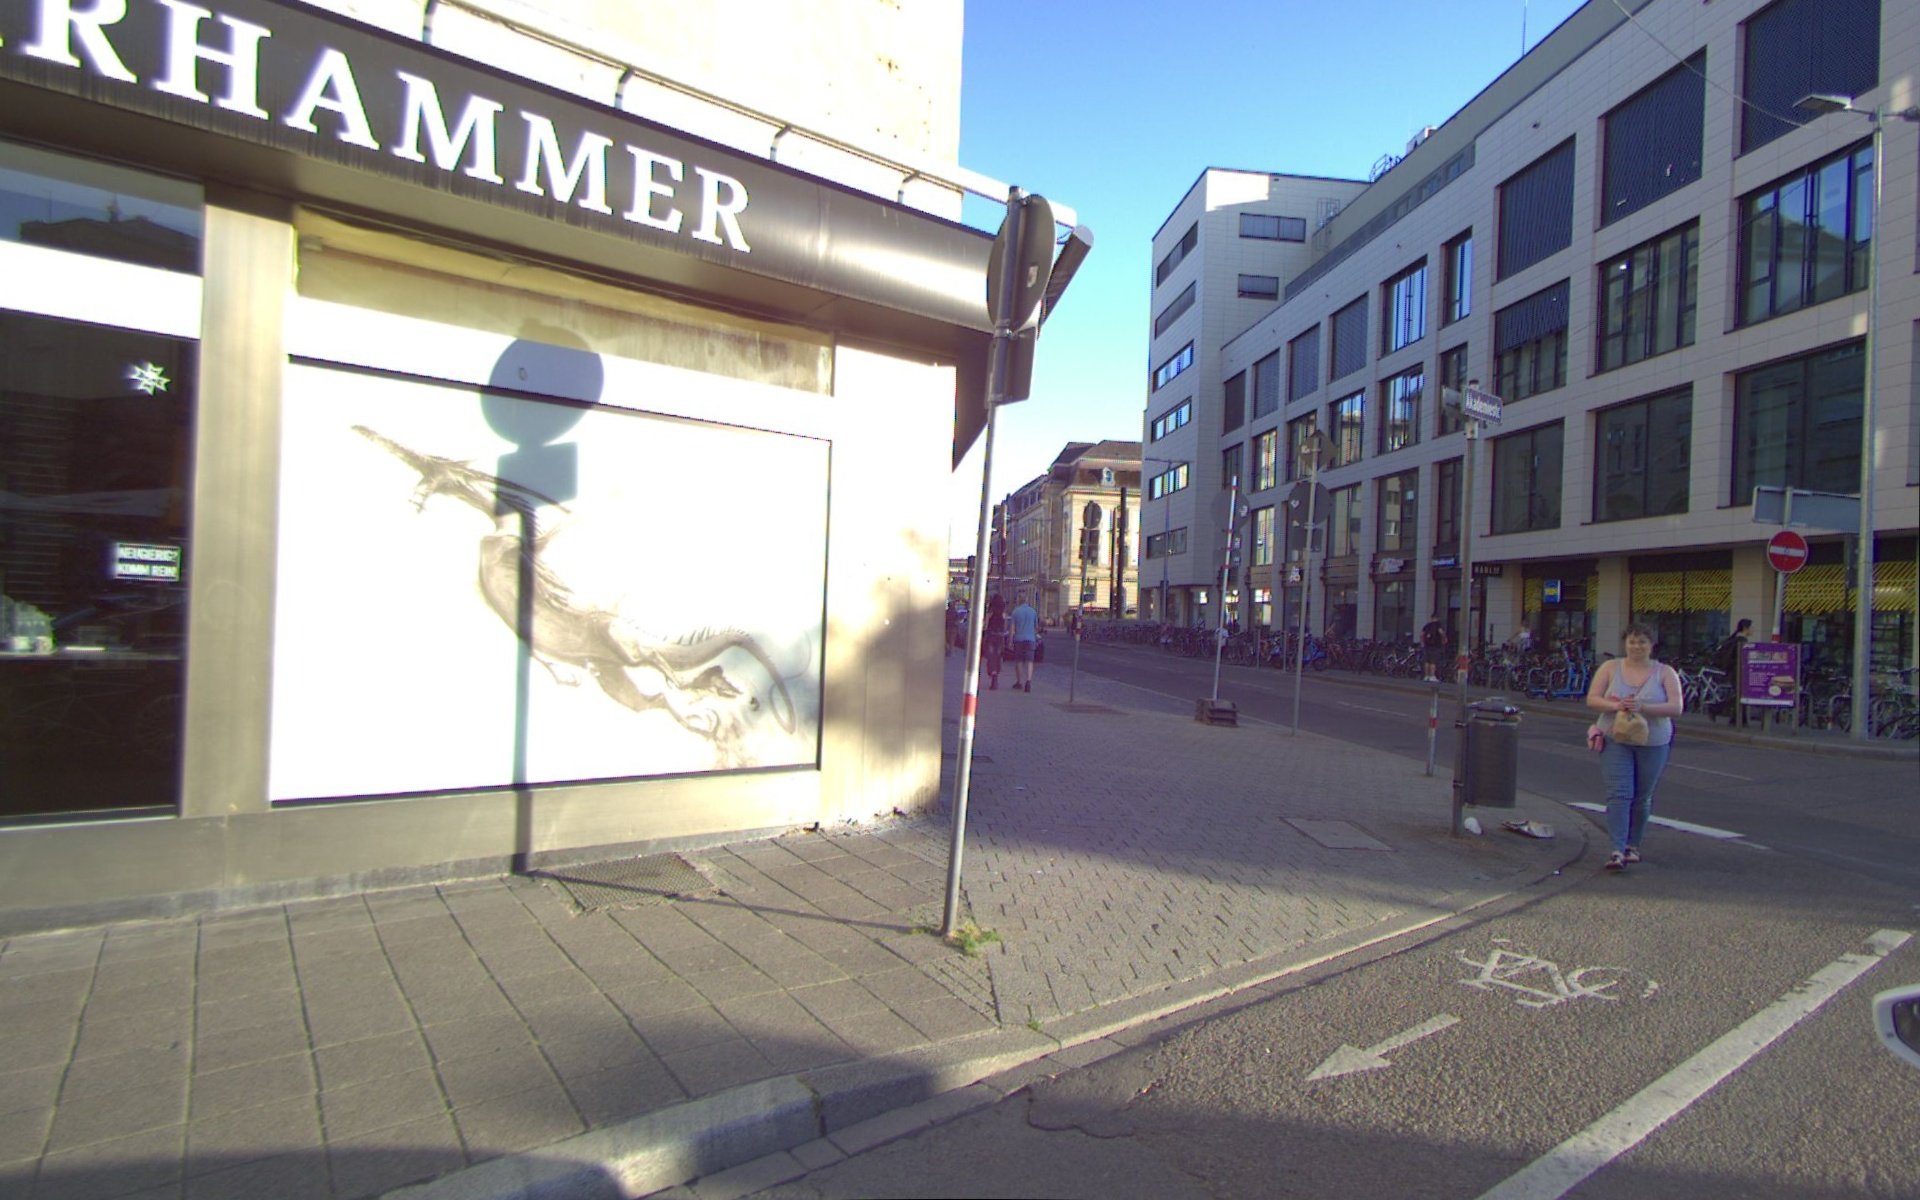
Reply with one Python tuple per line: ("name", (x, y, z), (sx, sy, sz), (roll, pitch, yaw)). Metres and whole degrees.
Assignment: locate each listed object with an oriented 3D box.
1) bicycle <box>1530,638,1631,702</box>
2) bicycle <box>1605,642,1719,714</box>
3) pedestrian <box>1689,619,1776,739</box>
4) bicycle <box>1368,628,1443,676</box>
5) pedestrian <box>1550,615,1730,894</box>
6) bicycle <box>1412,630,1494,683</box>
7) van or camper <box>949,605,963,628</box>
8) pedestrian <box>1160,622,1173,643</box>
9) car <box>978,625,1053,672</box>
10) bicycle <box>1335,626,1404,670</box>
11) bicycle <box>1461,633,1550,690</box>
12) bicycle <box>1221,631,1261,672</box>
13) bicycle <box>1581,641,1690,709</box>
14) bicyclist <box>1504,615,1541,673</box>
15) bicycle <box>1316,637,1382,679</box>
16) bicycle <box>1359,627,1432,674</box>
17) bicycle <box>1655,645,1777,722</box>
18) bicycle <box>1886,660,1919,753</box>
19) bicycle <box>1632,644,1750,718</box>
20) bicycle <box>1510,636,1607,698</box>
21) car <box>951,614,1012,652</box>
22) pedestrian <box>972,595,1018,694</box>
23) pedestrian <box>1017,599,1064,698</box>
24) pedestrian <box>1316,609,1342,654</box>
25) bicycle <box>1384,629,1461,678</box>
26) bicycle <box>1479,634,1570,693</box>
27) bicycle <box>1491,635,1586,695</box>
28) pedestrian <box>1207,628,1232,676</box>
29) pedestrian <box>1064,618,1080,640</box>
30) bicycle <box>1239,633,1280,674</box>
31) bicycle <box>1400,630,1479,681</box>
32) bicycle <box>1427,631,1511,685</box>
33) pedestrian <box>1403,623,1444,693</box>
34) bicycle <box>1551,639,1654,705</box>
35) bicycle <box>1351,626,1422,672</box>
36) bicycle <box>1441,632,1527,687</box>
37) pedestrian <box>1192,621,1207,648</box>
("bicycle", (13.557, 1.518, 21.956), (1.942, 1.271, 0.513), (3, 0, -8))
("bicycle", (13.790, 1.527, 19.737), (1.942, 1.271, 0.513), (3, 0, -8))
("pedestrian", (11.522, 1.155, 14.986), (0.613, 1.680, 0.862), (2, 0, -40))
("bicycle", (12.854, 1.490, 29.013), (1.942, 1.271, 0.513), (3, 0, -8))
("pedestrian", (4.359, 0.934, 6.501), (0.789, 1.634, 0.734), (2, 0, 24))
("bicycle", (13.064, 1.498, 26.642), (1.942, 1.271, 0.513), (3, 0, -8))
("van or camper", (-0.536, 2.399, 147.033), (1.961, 3.317, 5.163), (2, 0, 0))
("pedestrian", (14.065, 2.209, 68.408), (0.671, 1.444, 0.643), (2, 0, -7))
("car", (1.878, 1.669, 35.364), (1.830, 1.409, 3.994), (2, 0, -8))
("bicycle", (12.764, 1.489, 31.309), (1.942, 1.271, 0.513), (3, 0, -8))
("bicycle", (13.395, 1.513, 24.694), (1.942, 1.271, 0.513), (3, 0, -8))
("bicycle", (9.618, 1.741, 34.425), (0.504, 1.271, 1.976), (3, 0, -8))
("bicycle", (13.788, 1.528, 20.506), (1.942, 1.271, 0.513), (3, 0, -8))
("bicyclist", (17.031, 1.325, 30.410), (0.671, 1.718, 0.644), (2, 0, -5))
("bicycle", (12.764, 1.898, 32.966), (1.942, 1.271, 0.513), (3, 0, -8))
("bicycle", (12.919, 1.495, 29.804), (1.942, 1.271, 0.513), (3, 0, -8))
("bicycle", (13.871, 1.530, 18.449), (1.942, 1.271, 0.513), (3, 0, -8))
("bicycle", (14.407, 1.552, 14.264), (2.102, 1.271, 0.665), (3, 0, -10))
("bicycle", (13.840, 1.529, 19.021), (1.942, 1.271, 0.513), (3, 0, -8))
("bicycle", (13.545, 1.518, 22.743), (1.942, 1.271, 0.513), (3, 0, -8))
("car", (0.851, 1.389, 43.351), (1.830, 1.409, 4.616), (2, 0, -8))
("pedestrian", (0.625, 0.789, 18.191), (0.653, 1.730, 0.802), (2, 0, -6))
("pedestrian", (1.448, 0.869, 18.189), (0.653, 1.730, 0.802), (2, 0, -6))
("pedestrian", (14.407, 1.224, 39.251), (0.671, 1.718, 0.643), (2, 0, -7))
("bicycle", (13.025, 1.498, 28.282), (1.942, 1.271, 0.513), (3, 0, -8))
("bicycle", (13.490, 1.517, 24.018), (1.942, 1.271, 0.513), (3, 0, -8))
("bicycle", (13.438, 1.513, 23.341), (1.942, 1.271, 0.513), (3, 0, -8))
("pedestrian", (9.517, 1.901, 36.852), (0.671, 1.718, 0.643), (2, 0, -7))
("pedestrian", (7.573, 1.953, 67.967), (0.906, 1.447, 0.402), (2, 0, -10))
("bicycle", (10.310, 1.835, 34.666), (0.504, 1.271, 1.976), (3, 0, -8))
("bicycle", (13.109, 1.502, 27.458), (1.942, 1.271, 0.513), (3, 0, -8))
("bicycle", (13.174, 1.503, 26.020), (1.942, 1.271, 0.513), (3, 0, -8))
("pedestrian", (11.837, 1.468, 25.666), (0.671, 1.718, 0.644), (2, 0, -3))
("bicycle", (13.636, 1.521, 21.329), (1.943, 1.271, 0.512), (3, 0, -9))
("bicycle", (12.986, 1.500, 30.610), (1.942, 1.271, 0.513), (3, 0, -8))
("bicycle", (13.259, 1.507, 25.425), (1.942, 1.271, 0.513), (3, 0, -8))
("pedestrian", (15.620, 2.253, 65.468), (0.671, 1.718, 0.643), (2, 0, -7))
